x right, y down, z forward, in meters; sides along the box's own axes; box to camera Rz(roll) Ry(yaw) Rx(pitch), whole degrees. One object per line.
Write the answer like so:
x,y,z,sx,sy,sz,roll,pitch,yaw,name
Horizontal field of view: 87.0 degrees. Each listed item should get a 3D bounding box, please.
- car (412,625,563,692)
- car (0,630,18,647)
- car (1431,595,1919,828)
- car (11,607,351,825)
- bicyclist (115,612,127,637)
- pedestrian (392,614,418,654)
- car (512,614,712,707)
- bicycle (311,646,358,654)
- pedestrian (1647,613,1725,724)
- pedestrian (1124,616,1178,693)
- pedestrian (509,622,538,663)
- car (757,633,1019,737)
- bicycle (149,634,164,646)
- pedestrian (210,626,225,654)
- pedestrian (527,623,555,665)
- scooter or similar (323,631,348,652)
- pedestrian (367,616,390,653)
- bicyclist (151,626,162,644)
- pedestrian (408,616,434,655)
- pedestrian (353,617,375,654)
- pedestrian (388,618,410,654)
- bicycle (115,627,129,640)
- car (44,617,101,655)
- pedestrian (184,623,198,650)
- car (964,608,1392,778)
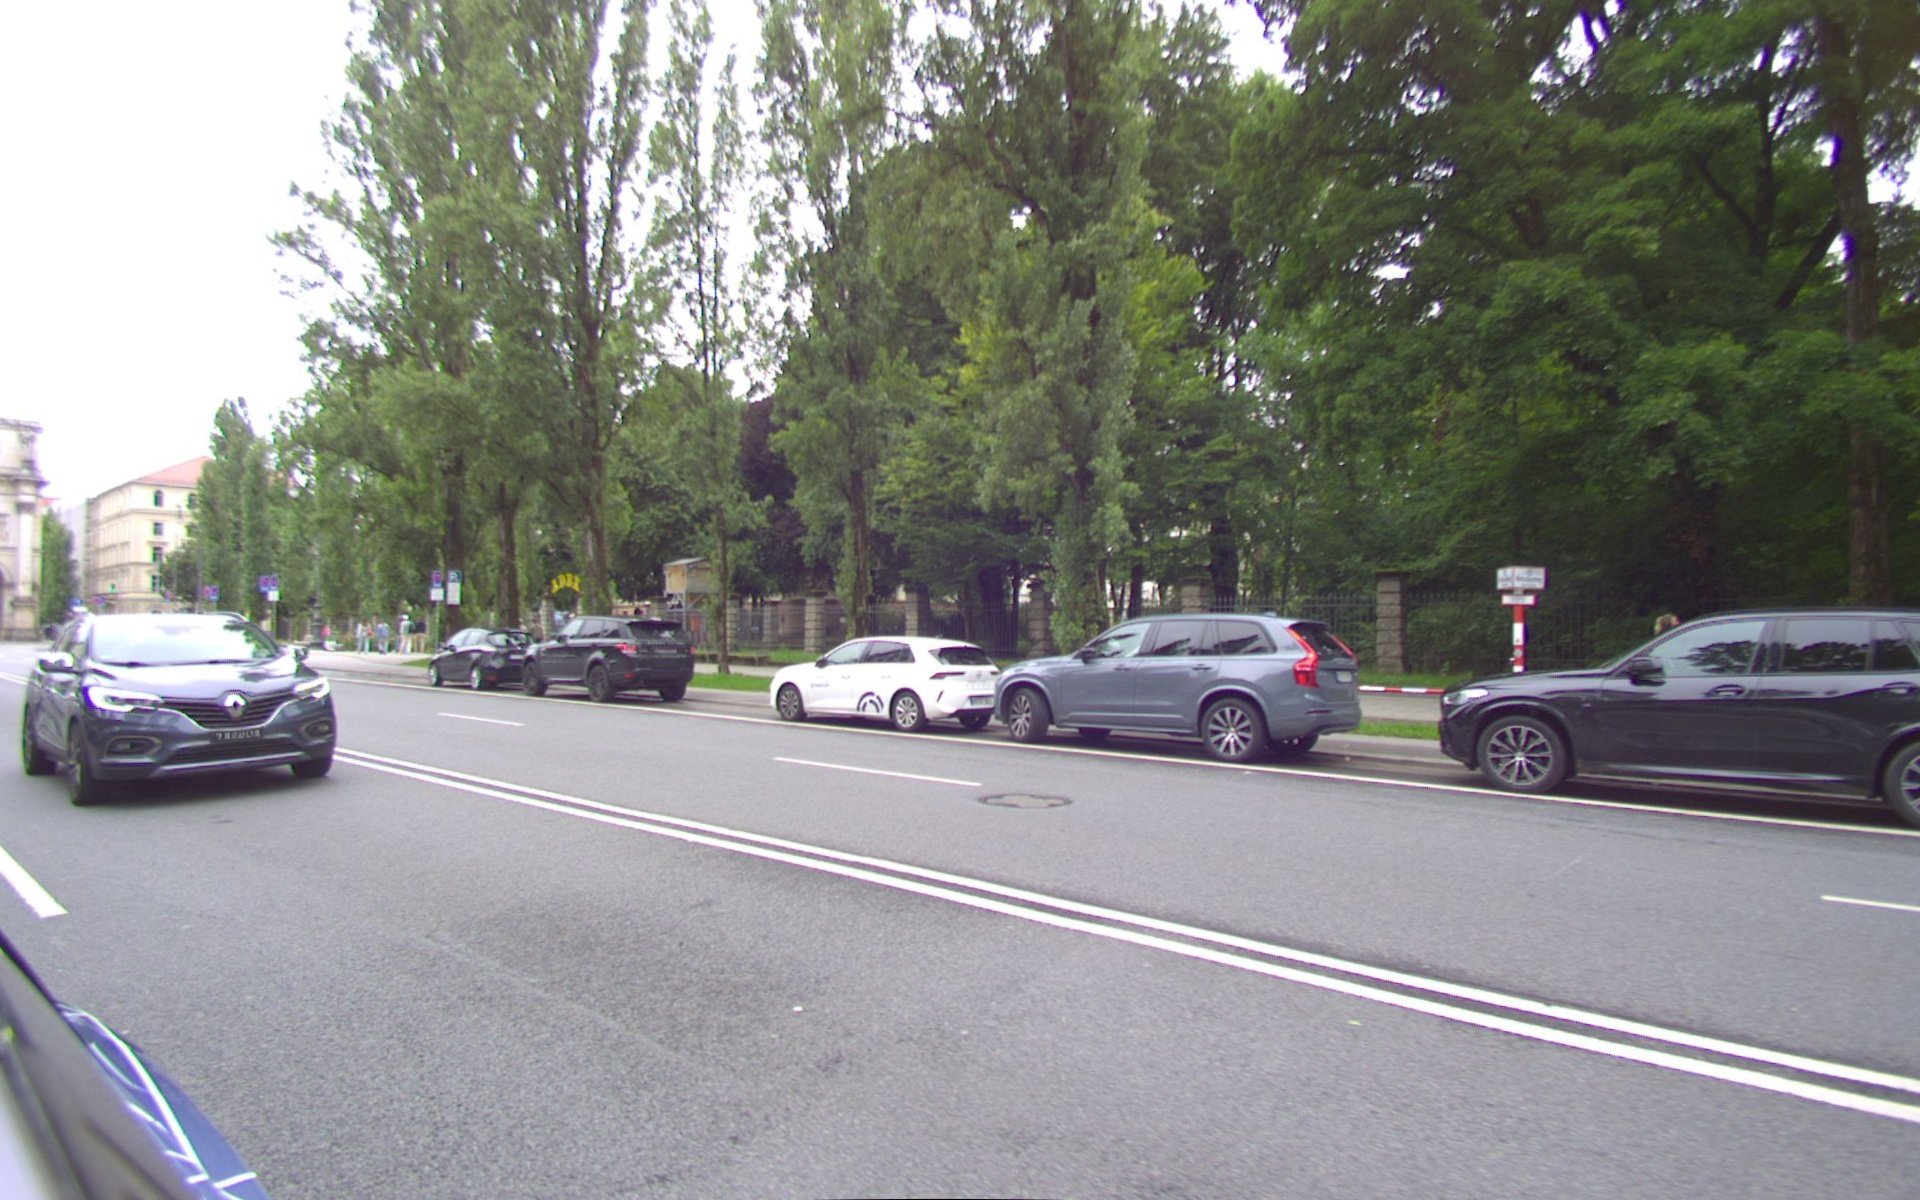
-12.310,1.495,26.267,4.387,1.596,1.924,-2,-4,41,car
-103.030,4.075,107.538,3.945,1.763,1.999,0,-2,1,car
7.129,0.930,9.168,4.891,1.781,1.921,-1,-5,39,car
-7.492,0.906,9.575,4.184,1.598,1.816,-2,-1,42,car
-64.402,1.883,77.712,0.660,1.837,0.583,-2,-1,39,bicyclist
-25.838,1.576,47.100,1.092,1.847,0.702,-1,-2,40,pedestrian
-7.656,1.282,22.045,4.799,1.800,2.024,-2,-5,43,car
-38.888,3.121,62.955,1.331,0.456,2.204,-2,-2,18,bicycle
11.903,1.094,16.595,0.956,1.755,0.659,-2,-3,41,pedestrian
4.500,1.261,23.819,0.956,1.755,0.822,-2,-3,41,pedestrian
-17.120,1.664,39.674,0.875,1.560,0.711,-1,-2,39,pedestrian
-1.259,1.304,16.428,4.270,1.470,1.686,-1,-4,40,car
-69.724,3.464,87.849,1.912,0.959,0.666,-2,-1,40,bicycle
-46.023,2.489,62.704,0.581,1.744,0.527,-1,-2,30,pedestrian
-16.663,1.737,40.221,0.812,1.617,0.711,-1,-2,39,pedestrian
-36.385,2.400,58.975,1.413,1.187,0.738,-2,-4,36,scooter or similar
-27.800,1.655,48.376,0.885,1.713,0.681,-2,-3,40,pedestrian
-69.729,3.032,87.851,0.660,1.604,0.639,-2,-1,39,bicyclist
-25.381,1.664,47.676,1.092,1.786,0.702,-1,-2,40,pedestrian
-28.096,1.676,47.711,0.907,1.760,0.623,-2,-3,40,pedestrian
-27.194,1.752,49.040,0.910,1.729,0.653,-2,-3,40,pedestrian
-64.372,2.545,77.716,1.912,0.959,0.464,-2,-1,40,bicycle
-52.041,2.088,59.333,4.469,1.345,1.774,14,7,39,car
-49.845,2.385,65.589,0.581,1.744,0.527,-1,-2,30,pedestrian
2.647,1.102,13.187,5.176,1.803,1.890,-1,-5,40,car
